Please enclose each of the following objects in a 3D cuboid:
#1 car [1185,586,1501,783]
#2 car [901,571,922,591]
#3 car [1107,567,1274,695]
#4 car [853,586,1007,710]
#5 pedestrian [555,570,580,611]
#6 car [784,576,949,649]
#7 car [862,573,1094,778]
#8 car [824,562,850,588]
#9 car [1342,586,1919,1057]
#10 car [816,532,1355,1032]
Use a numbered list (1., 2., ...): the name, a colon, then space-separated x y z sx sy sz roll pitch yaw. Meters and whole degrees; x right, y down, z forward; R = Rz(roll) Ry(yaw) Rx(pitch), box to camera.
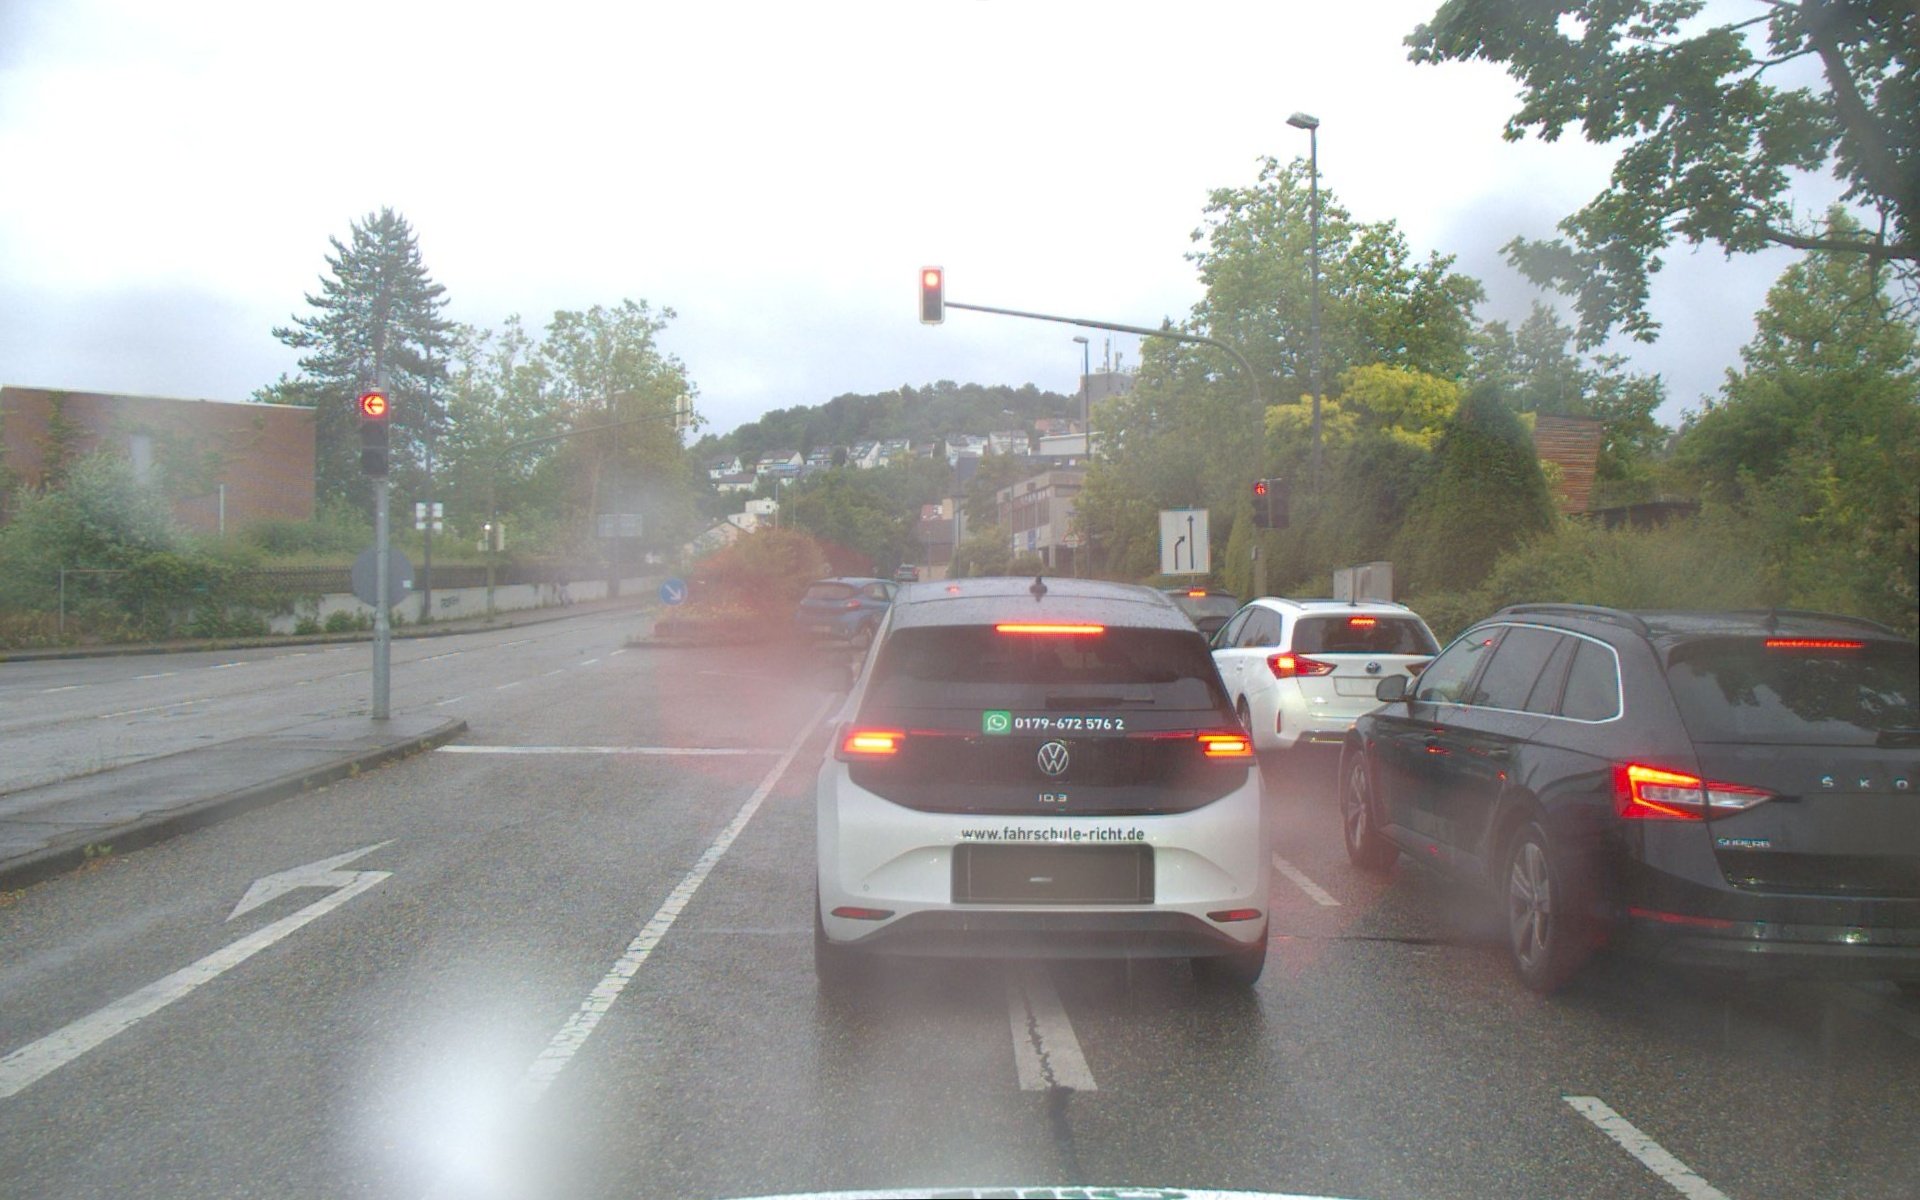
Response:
1. car: 3.280 0.644 15.009 1.800 1.492 4.116 1 1 -1
2. car: -4.127 -1.612 141.090 1.739 1.609 3.999 -2 0 -1
3. car: 3.159 0.404 23.365 1.739 1.609 3.999 1 0 -1
4. car: -0.407 0.556 21.621 1.800 1.424 3.830 1 1 -1
5. pedestrian: -15.759 -0.371 66.371 0.744 1.595 0.825 -2 0 -2
6. car: -1.967 0.237 35.773 1.729 1.443 3.739 -1 1 32
7. car: 0.098 0.576 15.176 1.800 1.582 4.174 1 1 -1
8. car: -10.380 -2.112 140.046 1.953 2.049 3.999 1 -1 -1
9. car: 3.131 0.710 7.516 1.800 1.492 4.350 1 1 1
10. car: 0.376 0.598 7.927 1.800 1.657 4.614 1 1 -1
